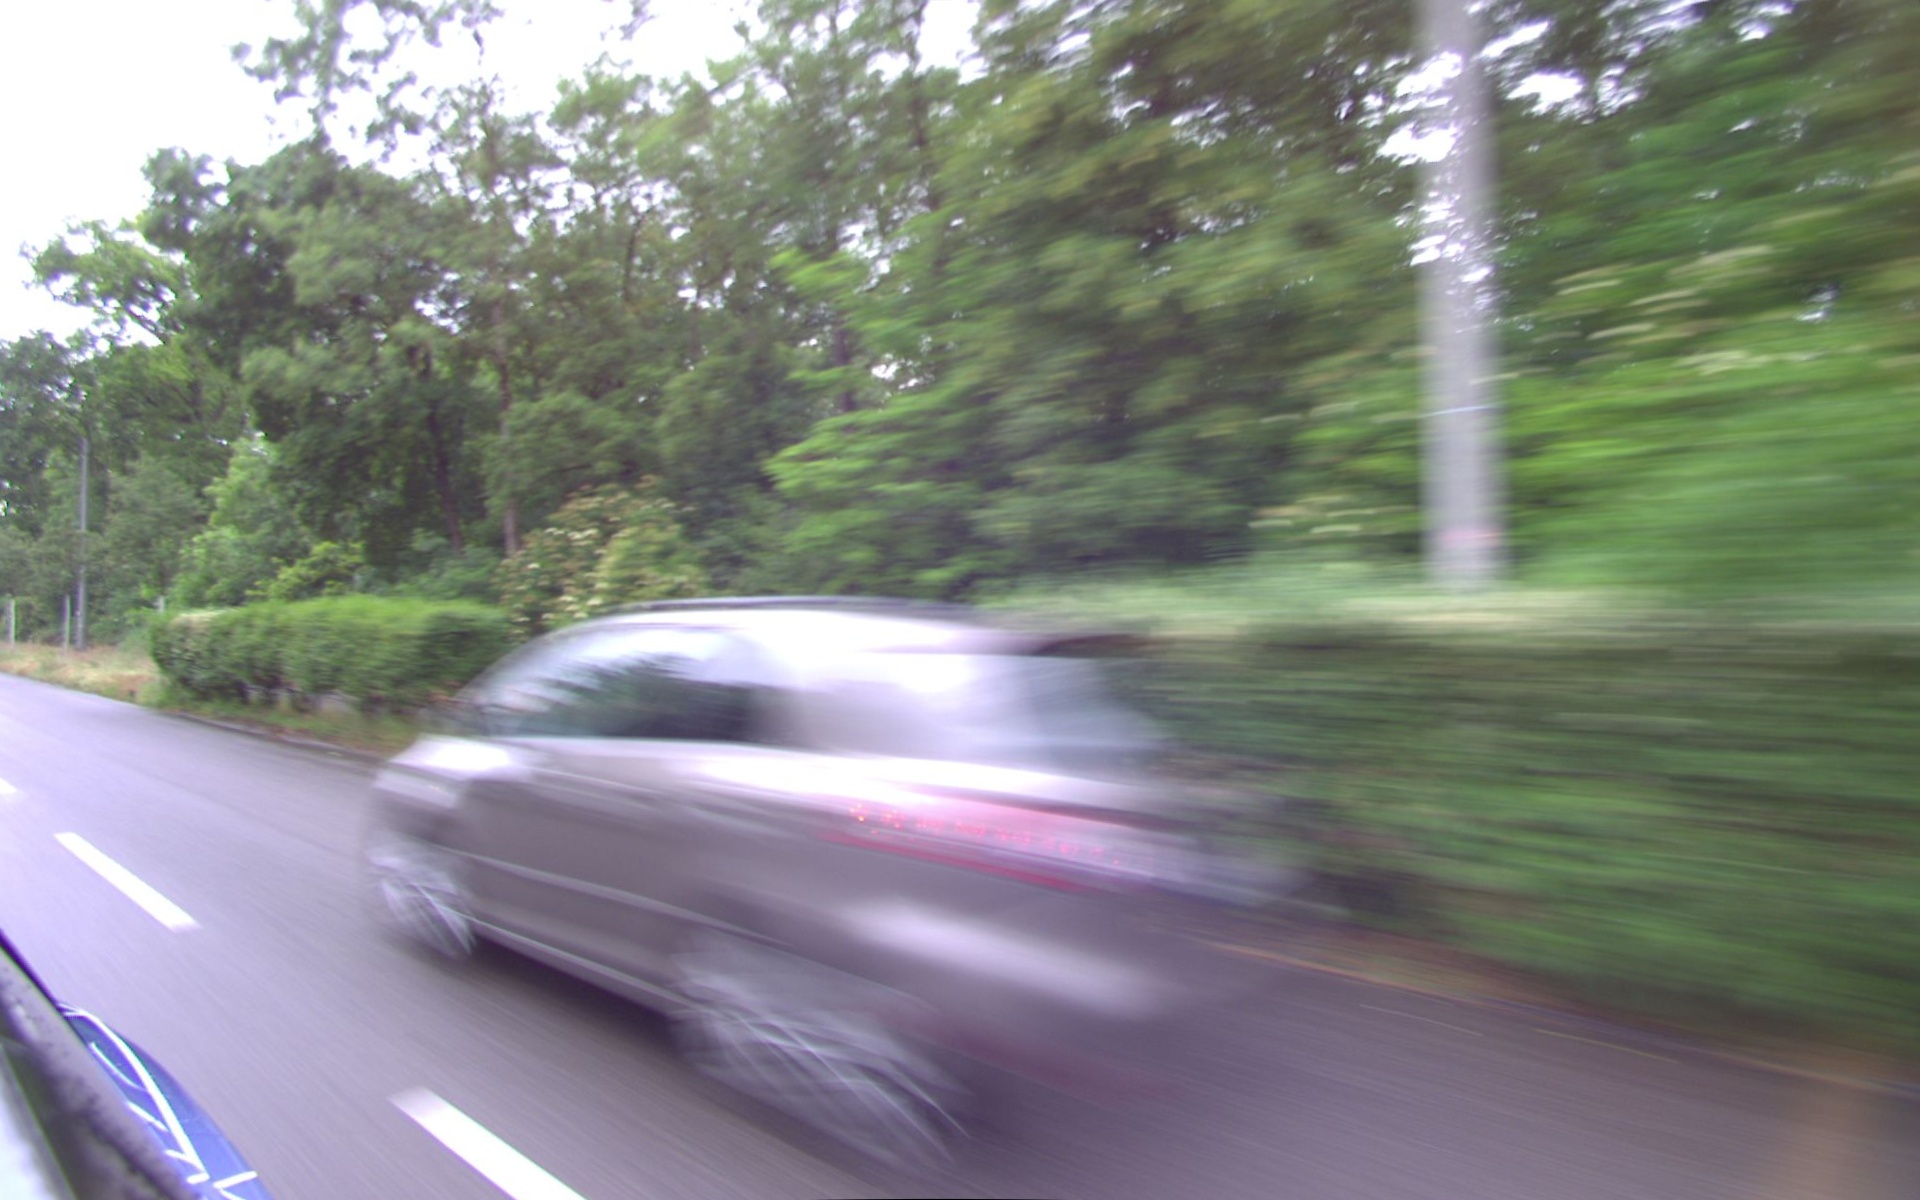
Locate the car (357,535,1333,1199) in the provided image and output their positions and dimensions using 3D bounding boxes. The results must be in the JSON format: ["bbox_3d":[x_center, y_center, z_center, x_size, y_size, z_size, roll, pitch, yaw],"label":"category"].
[{"bbox_3d":[-0.782,0.705,4.165,3.997,1.503,1.712,-3,-4,40],"label":"car"}]
